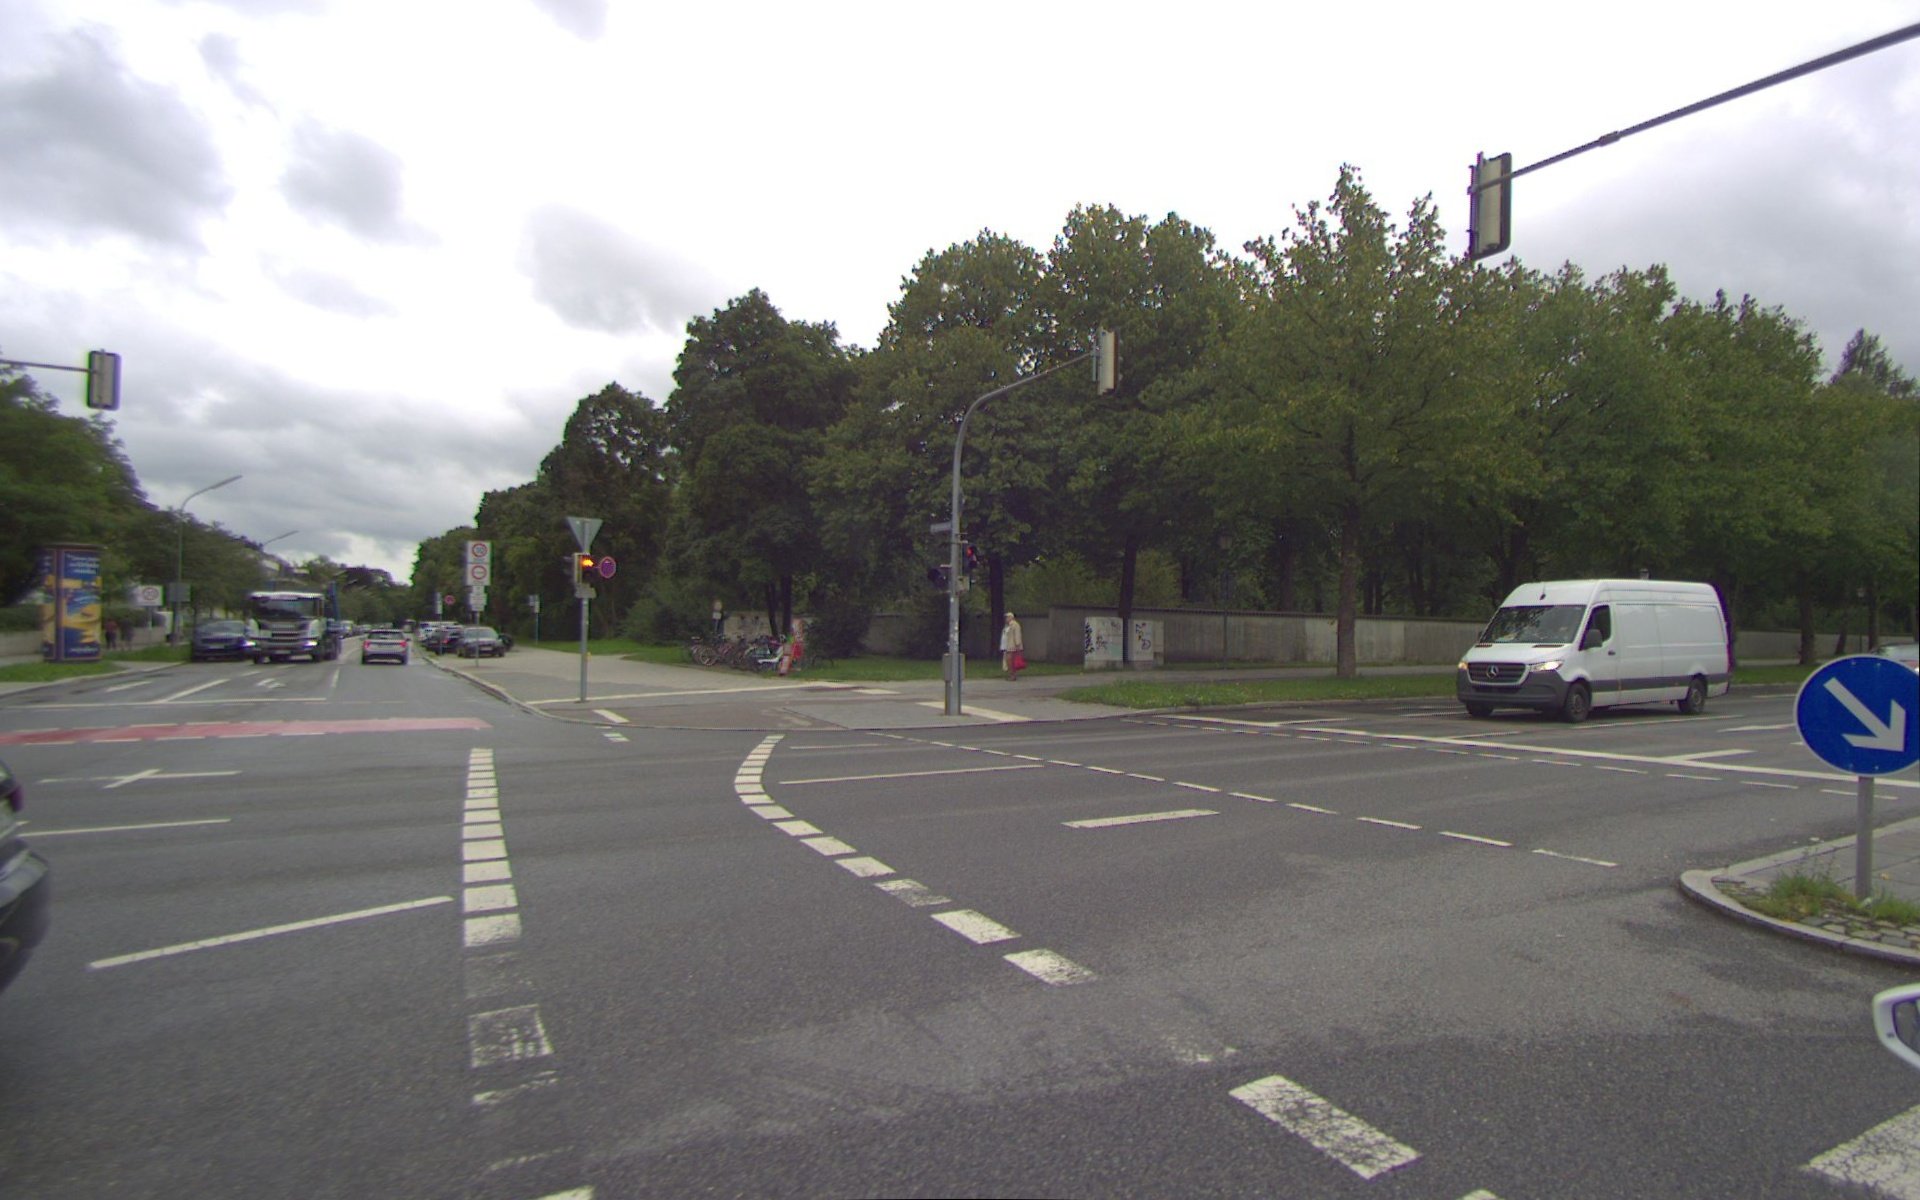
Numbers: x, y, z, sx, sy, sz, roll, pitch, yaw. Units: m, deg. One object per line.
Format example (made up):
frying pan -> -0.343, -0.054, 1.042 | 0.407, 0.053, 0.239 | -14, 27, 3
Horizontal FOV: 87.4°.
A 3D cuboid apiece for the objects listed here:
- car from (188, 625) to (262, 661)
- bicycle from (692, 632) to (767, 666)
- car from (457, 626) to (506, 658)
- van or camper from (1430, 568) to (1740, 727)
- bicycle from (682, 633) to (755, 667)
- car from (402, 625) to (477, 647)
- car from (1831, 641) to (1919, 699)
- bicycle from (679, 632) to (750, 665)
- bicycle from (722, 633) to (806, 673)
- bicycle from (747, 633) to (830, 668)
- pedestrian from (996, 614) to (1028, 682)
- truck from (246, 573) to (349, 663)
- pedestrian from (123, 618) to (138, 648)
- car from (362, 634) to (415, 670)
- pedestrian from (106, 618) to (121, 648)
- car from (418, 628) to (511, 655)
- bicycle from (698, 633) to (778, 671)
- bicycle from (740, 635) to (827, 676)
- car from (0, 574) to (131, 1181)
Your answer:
car -> -32.131, 1.851, 44.002 | 1.902, 1.435, 4.187 | 1, -1, -27
bicycle -> -8.259, 1.771, 36.022 | 2.469, 1.201, 0.831 | 2, -3, -32
car -> -23.307, 2.000, 48.865 | 1.823, 1.435, 4.182 | 1, -1, -30
van or camper -> 12.346, 0.932, 19.660 | 6.869, 2.681, 2.168 | 1, -3, -30
bicycle -> -8.850, 1.822, 36.924 | 2.469, 1.202, 0.831 | 2, -1, -32
car -> -35.718, 2.472, 68.962 | 1.815, 1.435, 4.200 | 0, -2, 36
car -> 26.244, 1.897, 27.898 | 4.604, 1.471, 1.735 | 1, -3, -31
bicycle -> -9.260, 1.834, 37.941 | 2.469, 1.202, 0.831 | 2, -1, -32
bicycle -> -6.154, 1.647, 31.603 | 2.469, 1.202, 0.831 | 2, -1, -32
bicycle -> -6.166, 1.819, 36.246 | 2.852, 1.201, 0.831 | 2, -1, -32
pedestrian -> 1.378, 1.265, 26.560 | 0.512, 1.763, 0.703 | 1, -1, -35
truck -> -28.682, 0.805, 43.788 | 2.736, 3.534, 7.771 | 1, -1, -26
pedestrian -> -40.117, 1.583, 48.568 | 0.541, 1.433, 0.596 | 2, -1, -41
car -> -24.916, 2.262, 43.789 | 1.910, 1.481, 4.331 | 1, -3, -30
pedestrian -> -40.675, 1.570, 48.258 | 0.541, 1.433, 0.596 | 2, -1, -41
car -> -27.116, 2.263, 55.033 | 4.184, 1.435, 1.903 | 2, -2, -42
bicycle -> -7.359, 1.726, 33.401 | 2.469, 1.202, 0.831 | 2, -1, -32
bicycle -> -5.347, 1.683, 30.551 | 2.469, 1.202, 0.831 | 2, -1, -32
car -> -4.360, 0.651, 2.165 | 3.740, 1.506, 1.630 | 2, -1, -33
